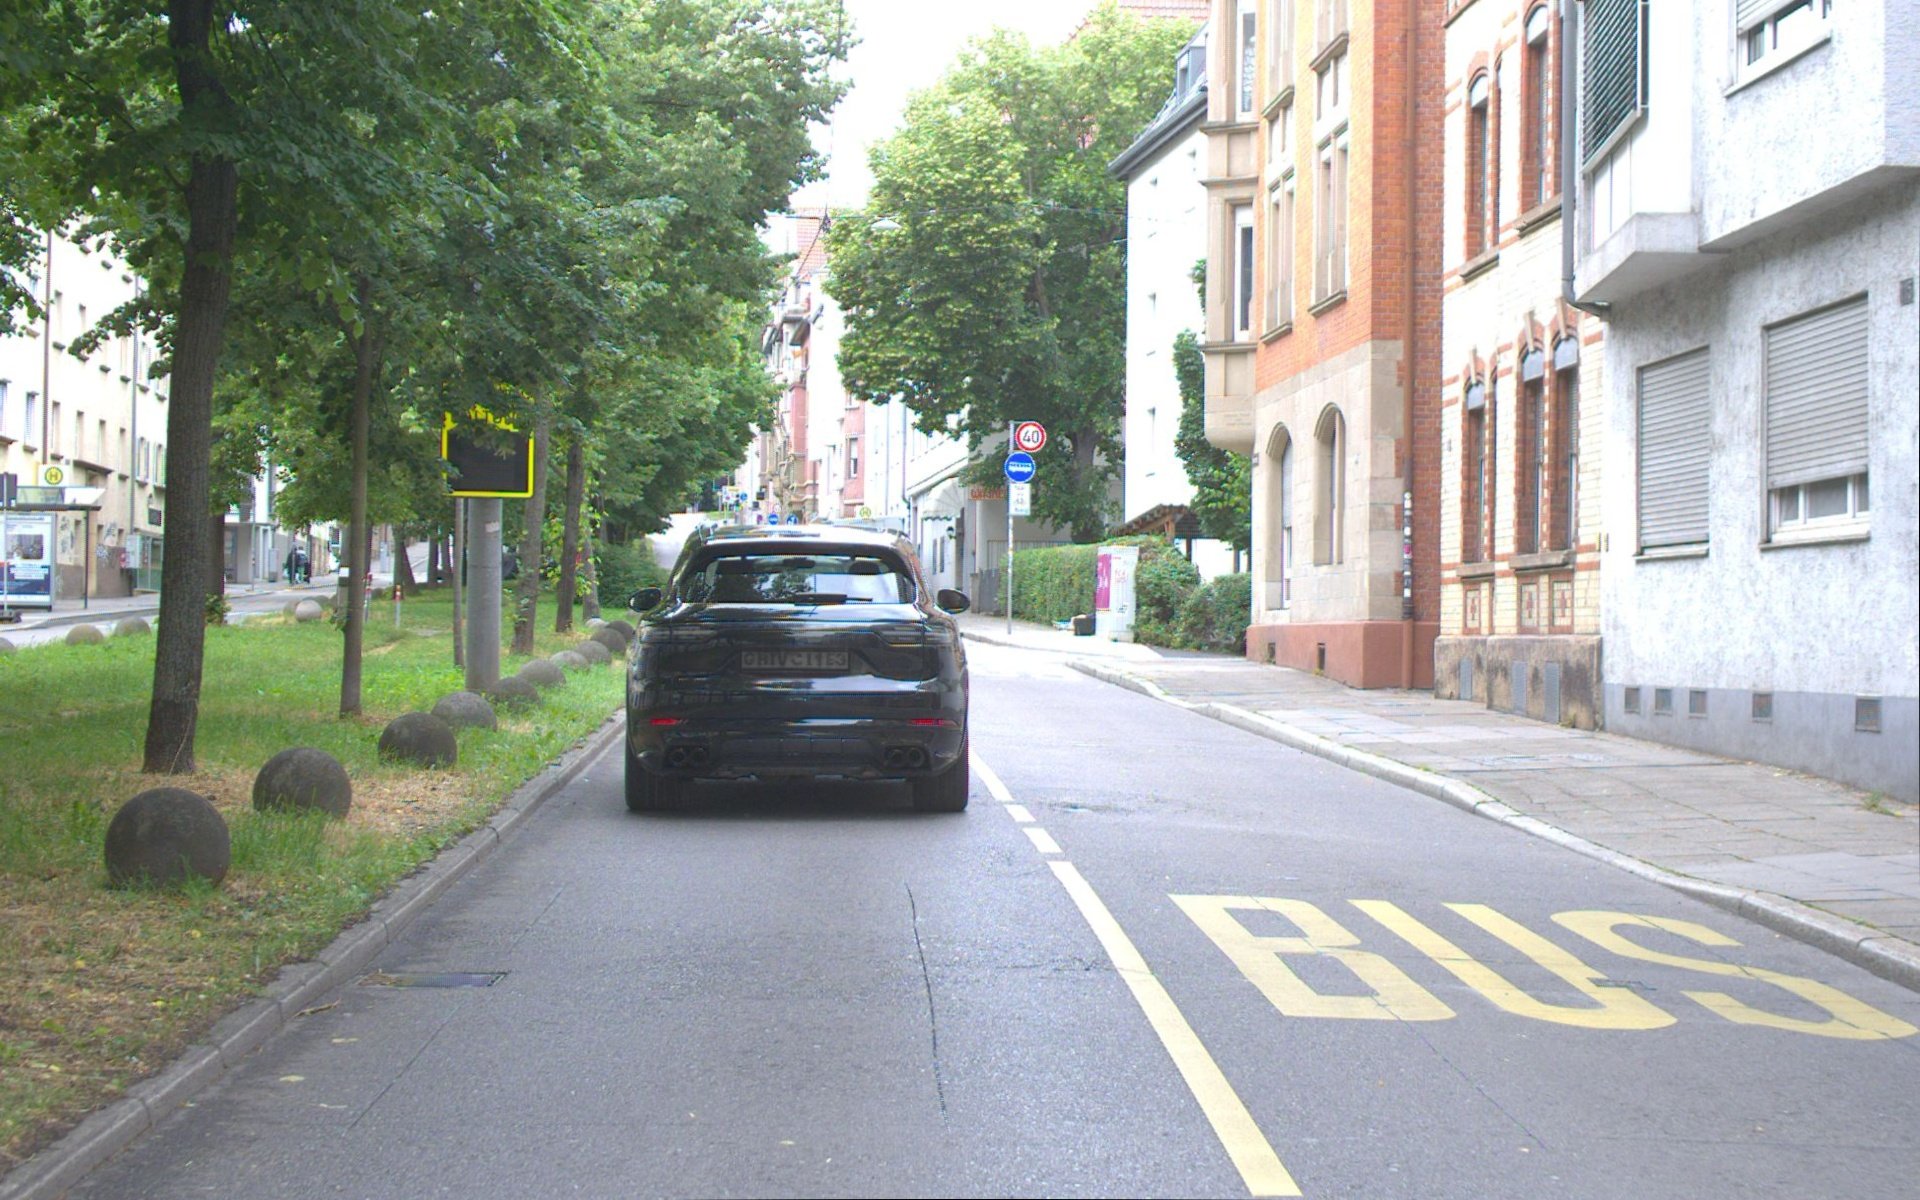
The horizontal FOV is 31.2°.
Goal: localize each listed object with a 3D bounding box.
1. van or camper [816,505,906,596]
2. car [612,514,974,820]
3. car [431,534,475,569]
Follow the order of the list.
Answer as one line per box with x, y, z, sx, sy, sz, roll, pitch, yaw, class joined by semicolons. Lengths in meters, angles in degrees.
-3.237;-1.575;110.336;2.479;2.793;7.239;1;0;-5;van or camper
-1.121;0.351;20.971;1.903;1.660;4.136;1;0;-7;car
-25.519;-2.435;173.130;1.948;1.623;4.366;-4;1;-6;car
